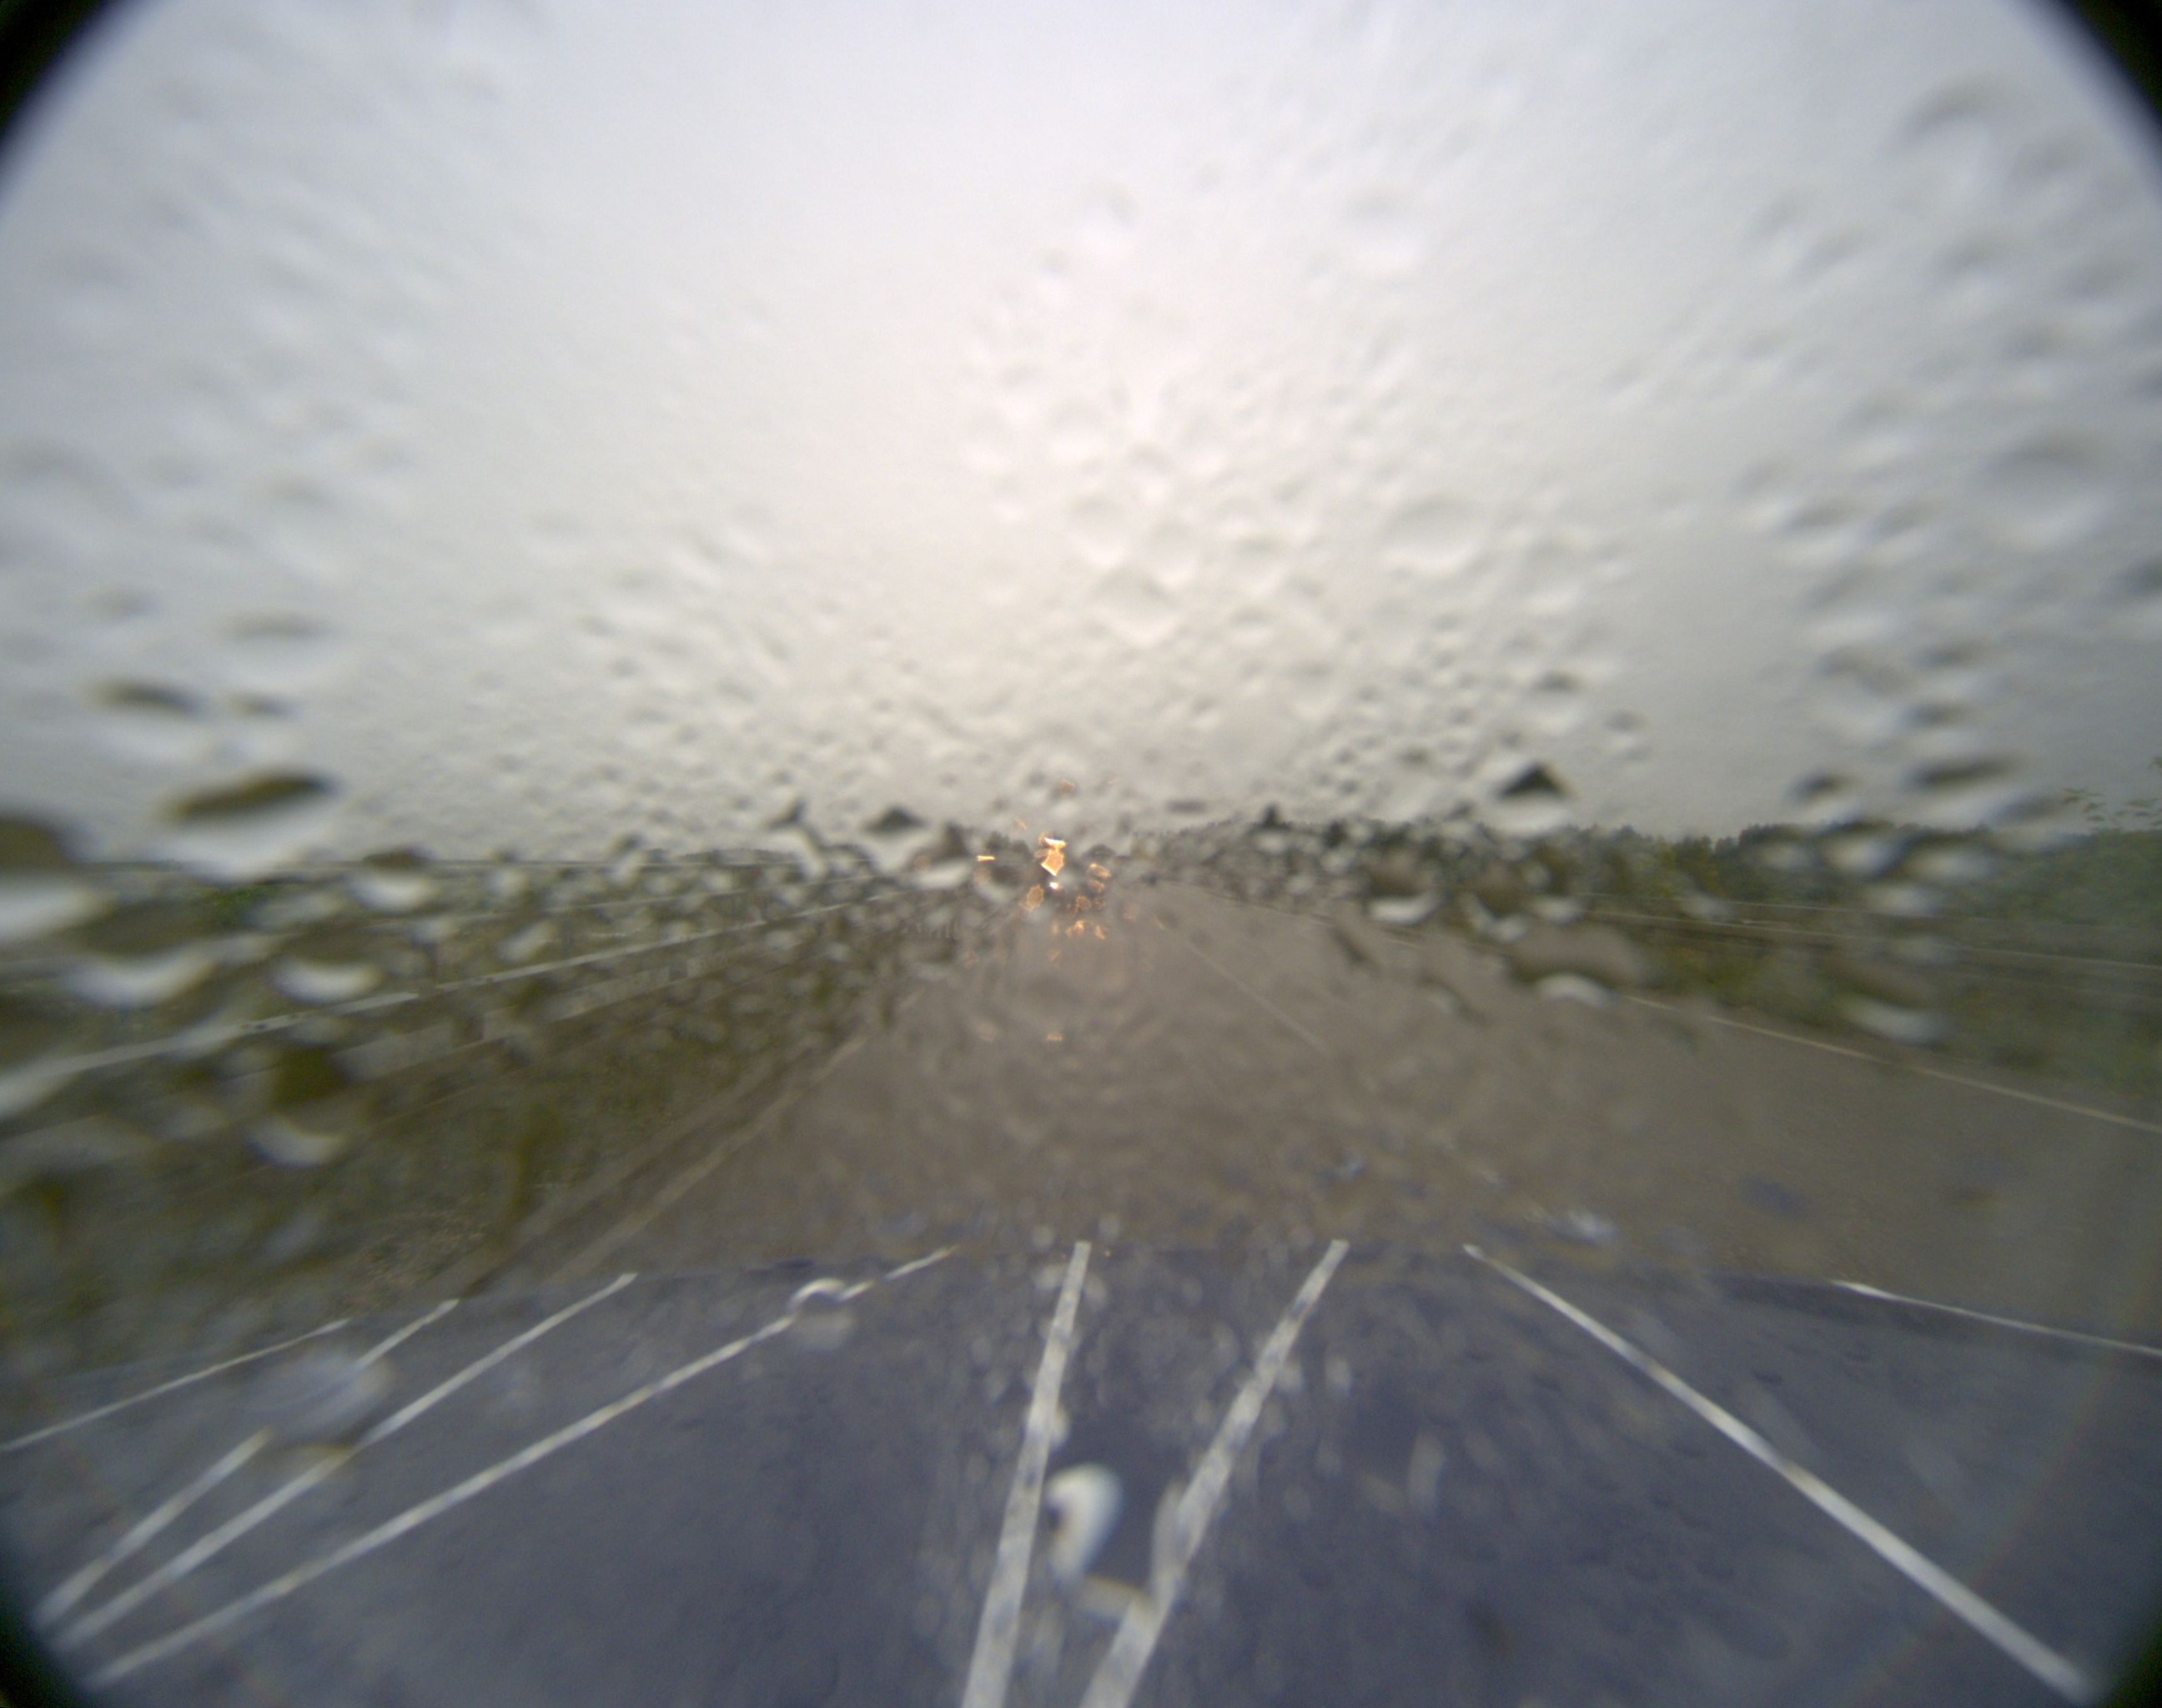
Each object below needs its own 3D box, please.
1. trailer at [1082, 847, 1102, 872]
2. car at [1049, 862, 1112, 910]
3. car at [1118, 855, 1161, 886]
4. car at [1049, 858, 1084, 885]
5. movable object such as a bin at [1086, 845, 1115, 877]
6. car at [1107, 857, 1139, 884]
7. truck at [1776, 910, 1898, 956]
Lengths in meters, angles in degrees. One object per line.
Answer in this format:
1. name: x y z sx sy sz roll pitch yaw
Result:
1. trailer: 1.731 0.917 125.108 2.825 3.946 13.735 0 -1 -1
2. car: -0.048 0.965 24.672 1.819 1.382 4.069 -1 0 -1
3. car: 3.045 0.836 40.172 1.843 1.528 4.068 0 0 -2
4. car: -0.774 0.908 41.485 1.819 1.382 4.069 -1 0 -1
5. movable object such as a bin: 2.139 0.777 84.526 2.756 3.425 4.642 0 0 -3
6. car: 2.957 1.161 54.707 2.071 1.826 4.931 0 0 0
7. truck: 71.247 7.353 71.606 10.647 3.847 2.783 0 1 -12
